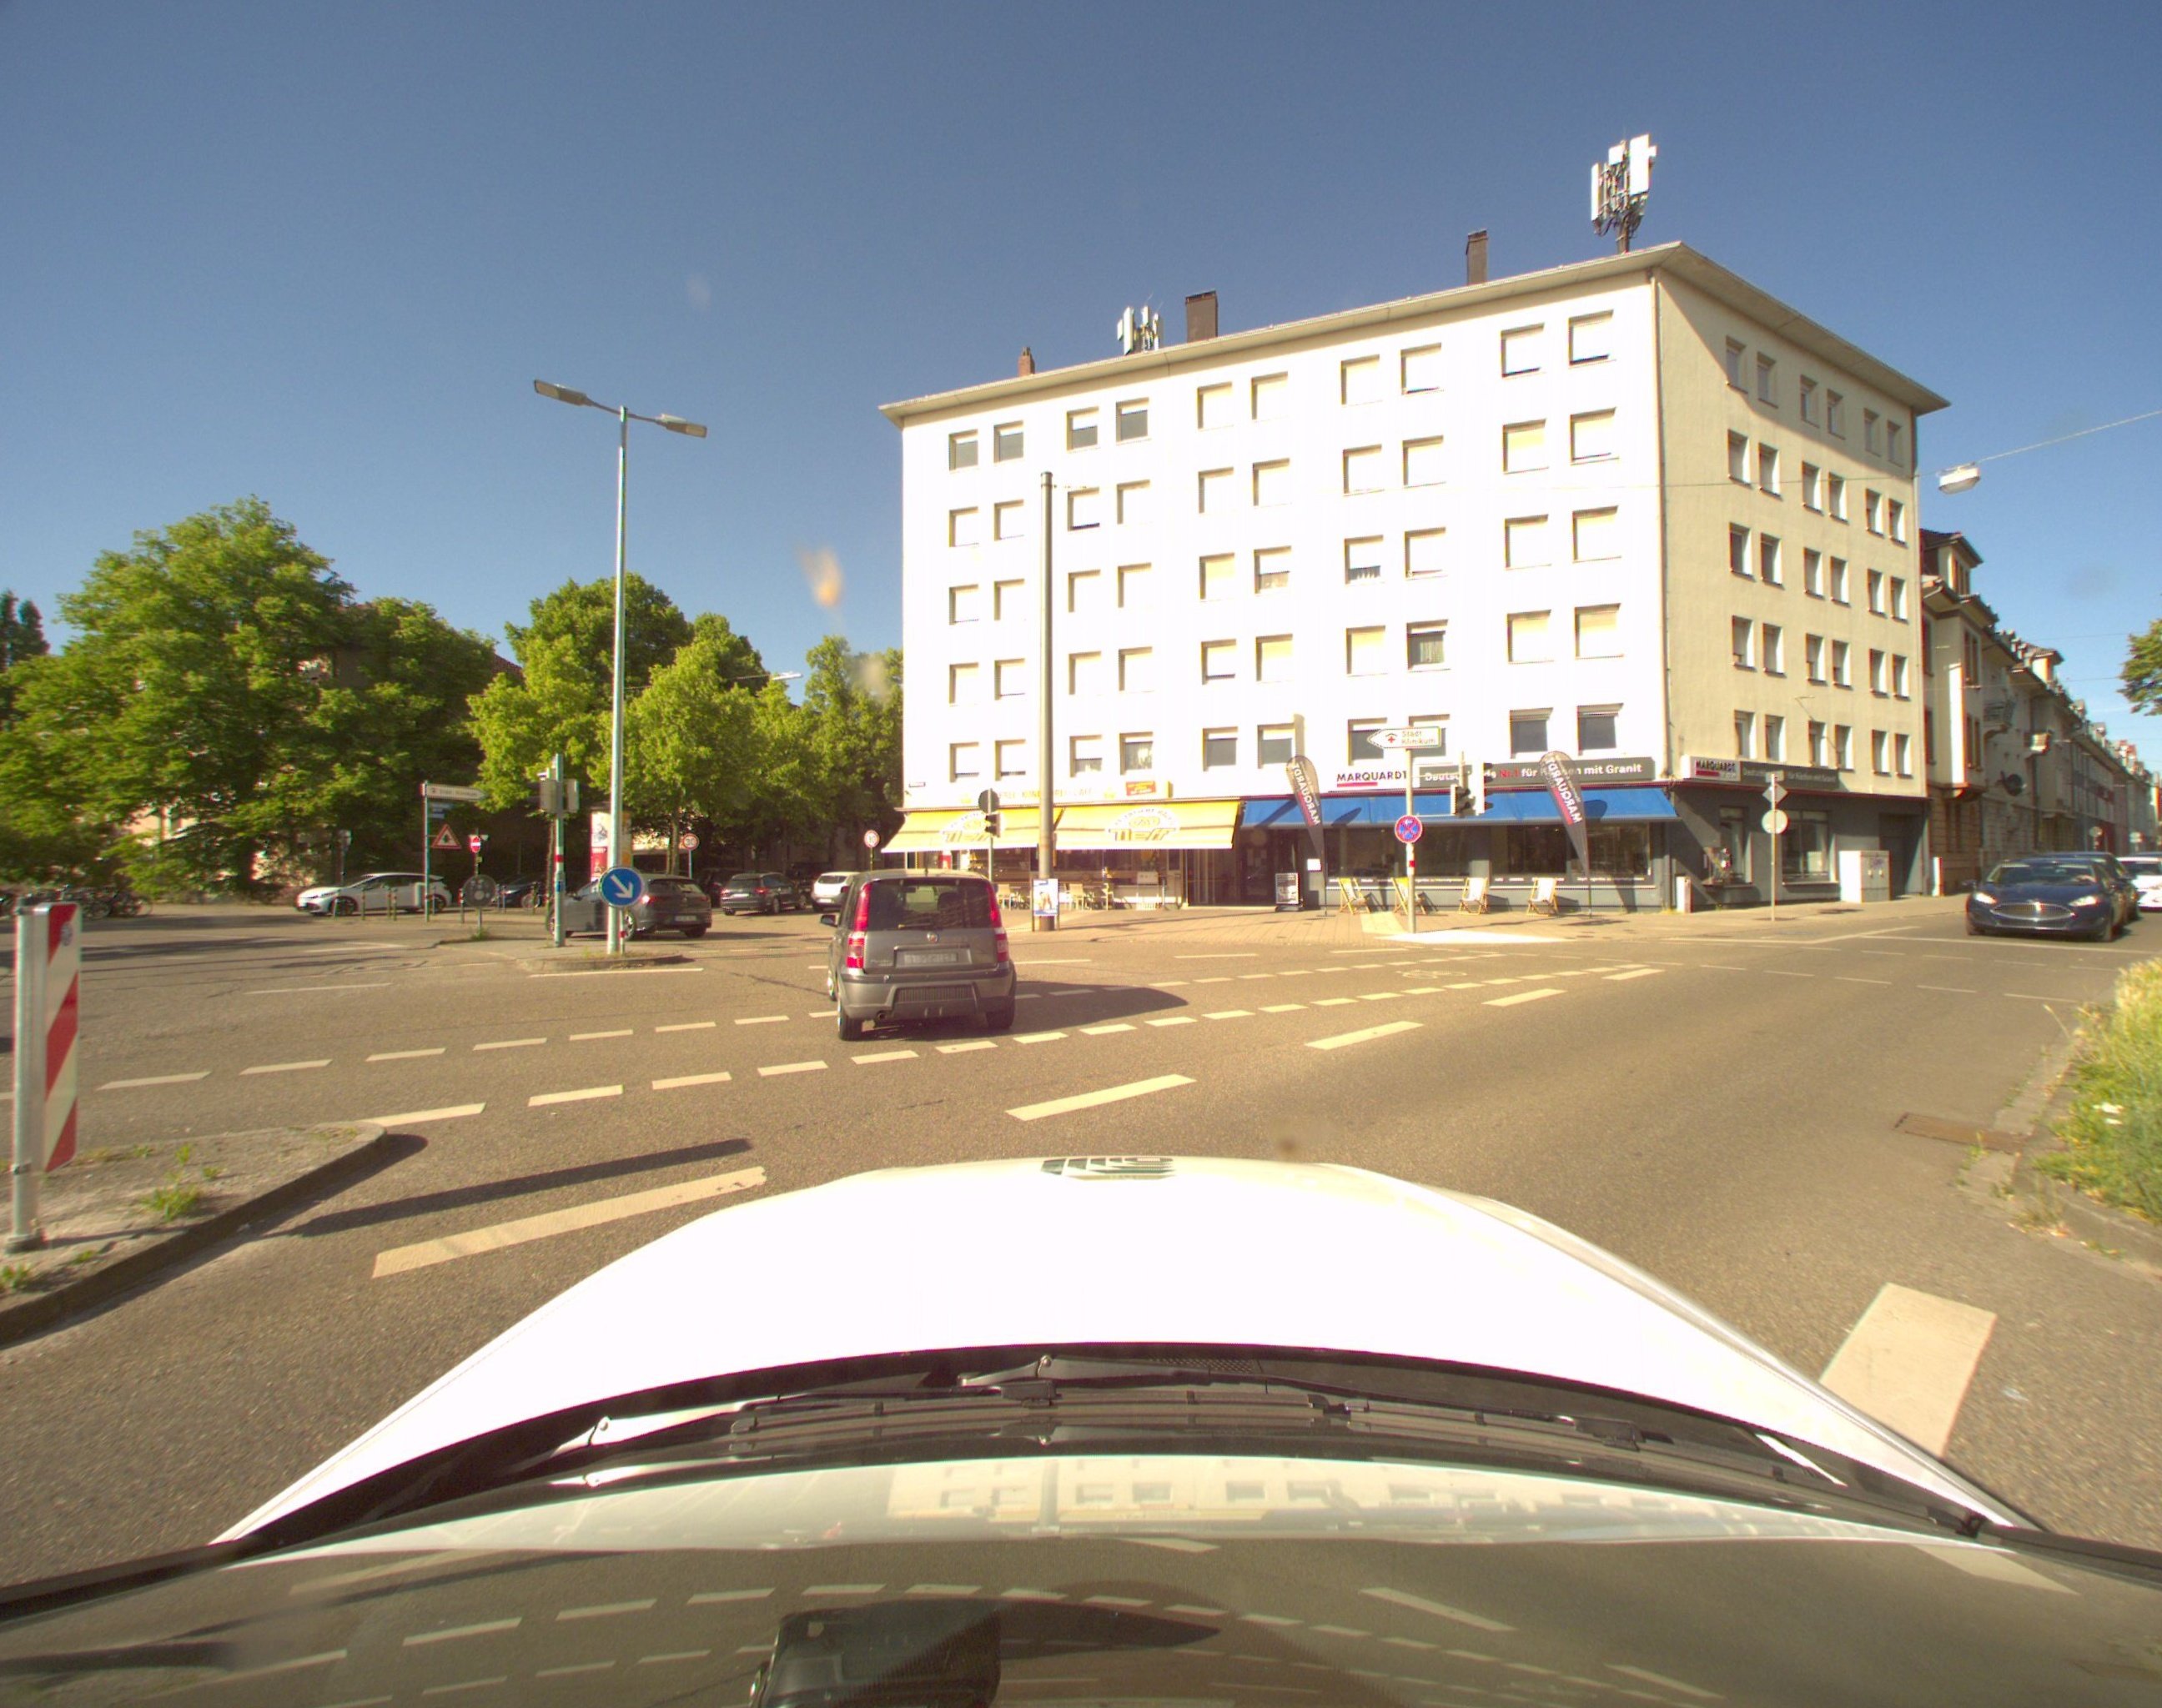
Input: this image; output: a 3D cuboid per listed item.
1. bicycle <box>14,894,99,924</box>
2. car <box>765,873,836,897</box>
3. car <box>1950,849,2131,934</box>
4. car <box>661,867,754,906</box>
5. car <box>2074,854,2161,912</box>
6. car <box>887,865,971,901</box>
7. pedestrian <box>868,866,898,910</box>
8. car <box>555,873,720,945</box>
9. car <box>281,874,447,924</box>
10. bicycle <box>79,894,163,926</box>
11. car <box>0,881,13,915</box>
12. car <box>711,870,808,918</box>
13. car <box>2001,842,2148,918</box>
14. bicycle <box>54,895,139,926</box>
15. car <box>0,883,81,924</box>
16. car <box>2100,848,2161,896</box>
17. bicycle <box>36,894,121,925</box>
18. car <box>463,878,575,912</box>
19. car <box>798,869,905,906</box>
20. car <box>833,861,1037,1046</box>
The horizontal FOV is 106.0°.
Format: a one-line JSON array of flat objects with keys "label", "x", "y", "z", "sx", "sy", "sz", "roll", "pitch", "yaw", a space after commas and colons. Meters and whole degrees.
[{"label": "bicycle", "x": -37.377, "y": 1.993, "z": 29.753, "sx": 0.504, "sy": 0.995, "sz": 1.916, "roll": -1, "pitch": -1, "yaw": 11}, {"label": "car", "x": -15.259, "y": 1.657, "z": 44.359, "sx": 3.451, "sy": 1.190, "sz": 1.653, "roll": 0, "pitch": -1, "yaw": -28}, {"label": "car", "x": 17.856, "y": 0.631, "z": 15.127, "sx": 3.740, "sy": 1.396, "sz": 1.777, "roll": 0, "pitch": -1, "yaw": -34}, {"label": "car", "x": -15.951, "y": 1.375, "z": 34.821, "sx": 3.272, "sy": 1.602, "sz": 1.677, "roll": -1, "pitch": -1, "yaw": 14}, {"label": "car", "x": 28.907, "y": 0.746, "z": 22.353, "sx": 3.546, "sy": 1.483, "sz": 1.777, "roll": 0, "pitch": -1, "yaw": -34}, {"label": "car", "x": -6.933, "y": 1.300, "z": 37.582, "sx": 1.919, "sy": 1.513, "sz": 3.960, "roll": -1, "pitch": -1, "yaw": 22}, {"label": "pedestrian", "x": -7.488, "y": 1.293, "z": 30.873, "sx": 0.786, "sy": 1.621, "sz": 0.832, "roll": -1, "pitch": -1, "yaw": 13}, {"label": "car", "x": -9.898, "y": 1.153, "z": 18.119, "sx": 3.640, "sy": 1.429, "sz": 1.636, "roll": -1, "pitch": -1, "yaw": 32}, {"label": "car", "x": -26.334, "y": 1.601, "z": 30.103, "sx": 1.744, "sy": 1.617, "sz": 4.250, "roll": 0, "pitch": 0, "yaw": 24}, {"label": "bicycle", "x": -34.110, "y": 1.975, "z": 28.983, "sx": 0.504, "sy": 0.995, "sz": 1.916, "roll": -1, "pitch": -1, "yaw": 11}, {"label": "car", "x": -44.504, "y": 1.749, "z": 31.153, "sx": 4.009, "sy": 1.338, "sz": 1.790, "roll": 0, "pitch": -1, "yaw": -27}, {"label": "car", "x": -11.636, "y": 1.393, "z": 29.783, "sx": 1.741, "sy": 1.578, "sz": 4.419, "roll": -1, "pitch": -1, "yaw": 0}, {"label": "car", "x": 22.652, "y": 0.548, "z": 18.545, "sx": 3.781, "sy": 1.565, "sz": 1.777, "roll": 0, "pitch": -1, "yaw": -34}, {"label": "bicycle", "x": -35.298, "y": 2.009, "z": 29.242, "sx": 0.504, "sy": 0.995, "sz": 1.916, "roll": -1, "pitch": -1, "yaw": 11}, {"label": "car", "x": -39.839, "y": 1.821, "z": 29.548, "sx": 1.898, "sy": 1.441, "sz": 4.015, "roll": -1, "pitch": -1, "yaw": 14}, {"label": "car", "x": 34.627, "y": 0.548, "z": 26.160, "sx": 4.015, "sy": 1.473, "sz": 1.979, "roll": 0, "pitch": -1, "yaw": -33}, {"label": "bicycle", "x": -36.260, "y": 2.005, "z": 29.504, "sx": 0.504, "sy": 0.995, "sz": 1.916, "roll": -1, "pitch": -1, "yaw": 11}, {"label": "car", "x": -24.258, "y": 1.739, "z": 35.296, "sx": 1.580, "sy": 1.293, "sz": 3.722, "roll": -1, "pitch": -1, "yaw": 21}, {"label": "car", "x": -8.831, "y": 1.256, "z": 31.634, "sx": 1.977, "sy": 1.310, "sz": 4.020, "roll": -1, "pitch": -1, "yaw": 21}, {"label": "car", "x": -1.690, "y": 0.849, "z": 8.533, "sx": 1.665, "sy": 1.510, "sz": 3.231, "roll": 0, "pitch": -1, "yaw": -19}]
